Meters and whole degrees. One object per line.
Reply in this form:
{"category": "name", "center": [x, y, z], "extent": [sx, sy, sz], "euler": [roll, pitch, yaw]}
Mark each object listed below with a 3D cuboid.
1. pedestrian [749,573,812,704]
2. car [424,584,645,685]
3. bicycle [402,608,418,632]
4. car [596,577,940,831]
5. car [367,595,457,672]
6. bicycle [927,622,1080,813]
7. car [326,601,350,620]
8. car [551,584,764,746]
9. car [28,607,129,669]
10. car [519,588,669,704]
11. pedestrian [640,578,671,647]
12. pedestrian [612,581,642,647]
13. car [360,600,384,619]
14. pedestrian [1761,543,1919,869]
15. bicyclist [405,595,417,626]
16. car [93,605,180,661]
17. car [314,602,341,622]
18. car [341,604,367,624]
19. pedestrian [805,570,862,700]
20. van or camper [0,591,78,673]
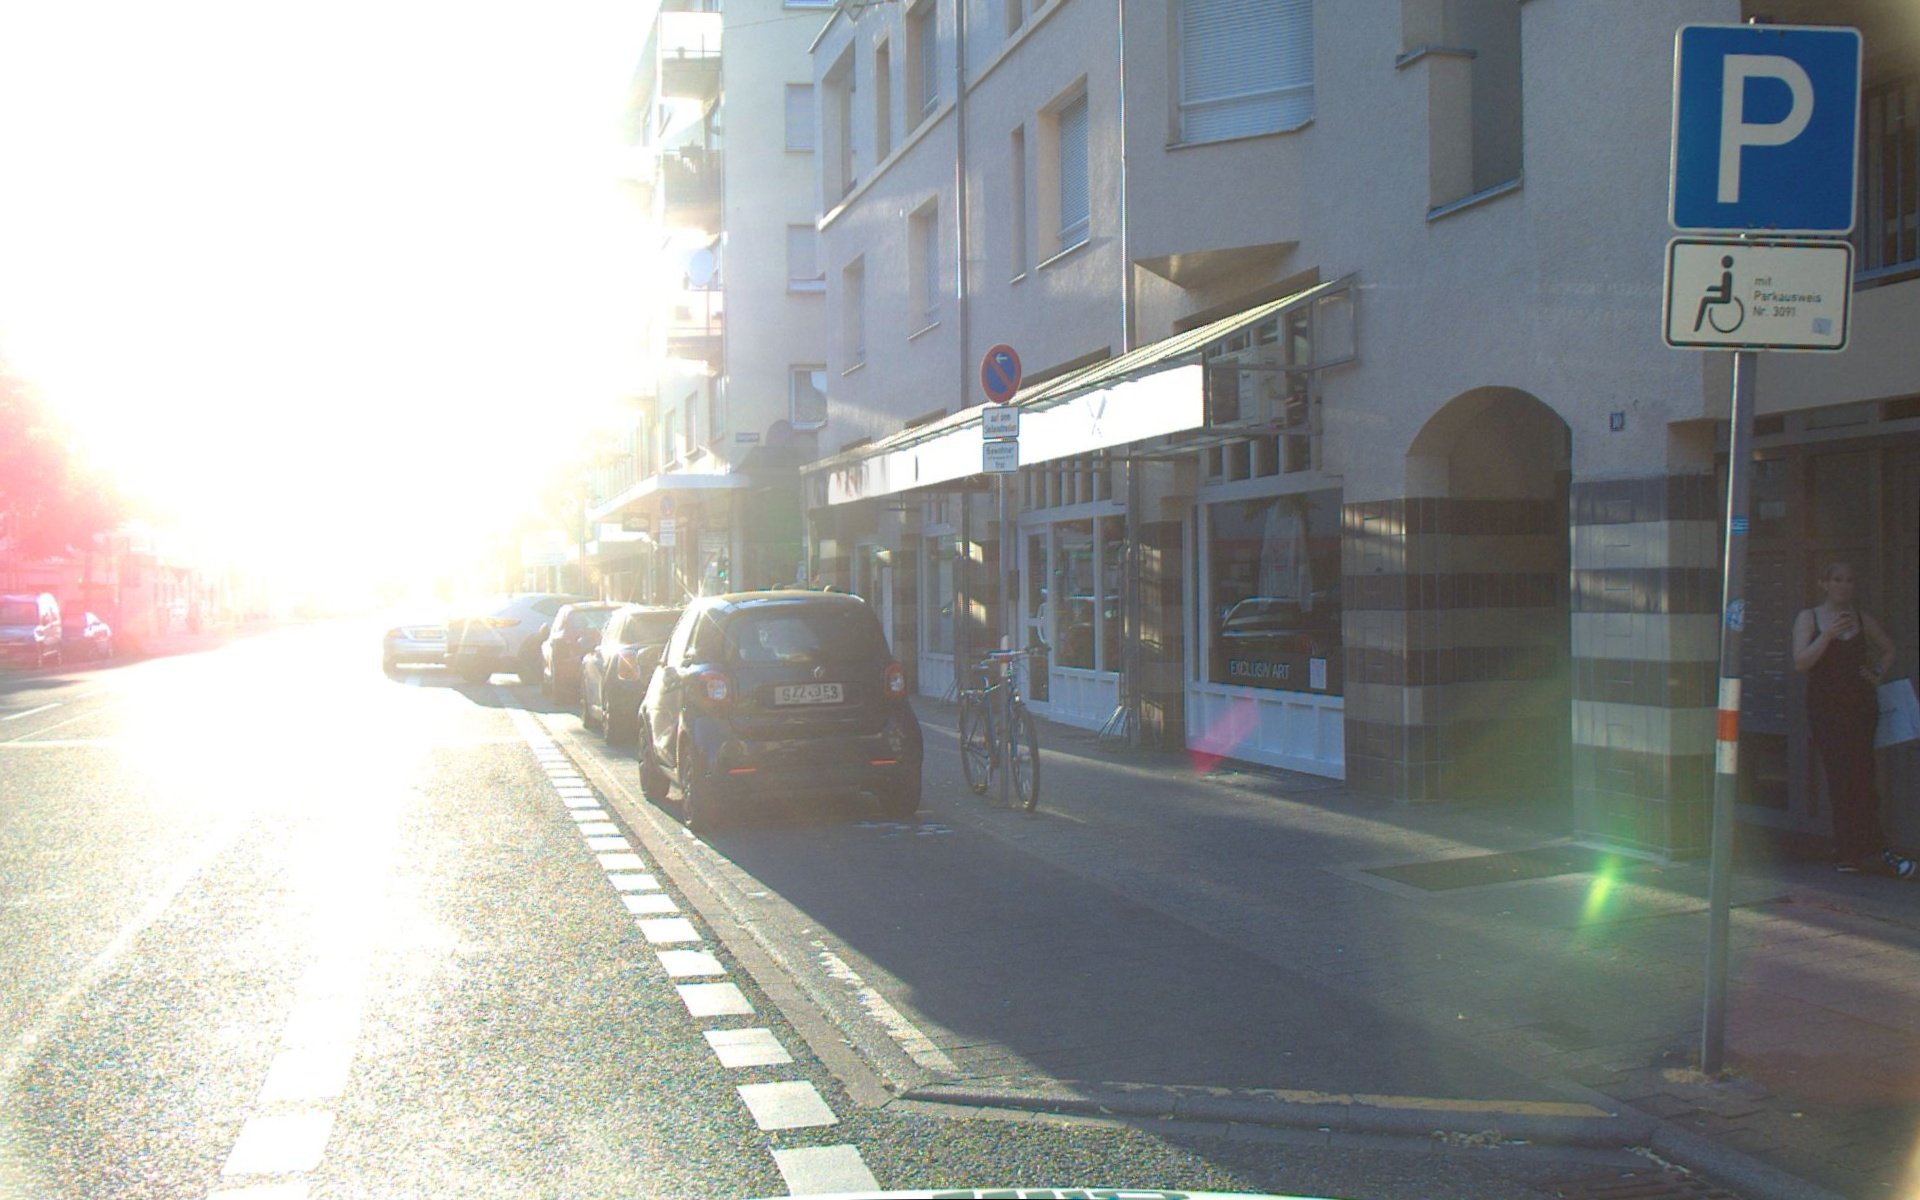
{"category": "pedestrian", "center": [-2.458, 0.509, 22.608], "extent": [0.620, 1.729, 1.034], "euler": [-1, 0, -19]}
{"category": "car", "center": [-7.880, 0.606, 31.077], "extent": [1.834, 1.727, 4.321], "euler": [1, 0, 21]}
{"category": "bicycle", "center": [-29.378, 1.060, 88.418], "extent": [0.652, 1.264, 2.121], "euler": [1, 0, -15]}
{"category": "car", "center": [-1.637, 0.652, 12.750], "extent": [1.763, 1.608, 3.943], "euler": [-1, 0, -20]}
{"category": "car", "center": [-11.676, 0.685, 35.417], "extent": [1.663, 1.529, 3.770], "euler": [1, 0, -17]}
{"category": "bicycle", "center": [0.276, 0.798, 12.068], "extent": [0.549, 1.227, 1.969], "euler": [-1, 0, -16]}
{"category": "car", "center": [-53.018, 0.900, 141.073], "extent": [1.663, 1.529, 3.770], "euler": [-1, 0, -17]}
{"category": "car", "center": [-3.518, 0.640, 18.741], "extent": [1.763, 1.608, 3.764], "euler": [-1, 0, -20]}
{"category": "car", "center": [-23.681, 0.992, 44.547], "extent": [1.663, 1.529, 3.770], "euler": [-1, 0, -17]}
{"category": "car", "center": [-5.670, 0.639, 25.328], "extent": [1.763, 1.608, 3.764], "euler": [-1, 0, -20]}
{"category": "pedestrian", "center": [-8.203, 0.320, 44.523], "extent": [0.707, 1.822, 0.663], "euler": [-2, 0, -18]}
{"category": "pedestrian", "center": [-9.320, 0.377, 46.314], "extent": [0.707, 1.822, 0.663], "euler": [-2, 0, -18]}
{"category": "car", "center": [-50.264, 0.808, 141.395], "extent": [1.663, 1.529, 3.770], "euler": [-1, 0, -17]}
{"category": "pedestrian", "center": [4.561, 0.520, 8.393], "extent": [0.759, 1.600, 0.534], "euler": [-1, 0, 9]}
{"category": "bicyclist", "center": [-29.358, 0.554, 88.411], "extent": [0.538, 1.608, 0.799], "euler": [-1, 0, -15]}
{"category": "car", "center": [-24.540, 0.947, 49.372], "extent": [1.663, 1.529, 3.770], "euler": [-1, 0, -17]}
{"category": "car", "center": [-50.931, 0.925, 133.199], "extent": [1.663, 1.529, 3.770], "euler": [-1, 0, -17]}
{"category": "car", "center": [-49.002, 1.098, 133.782], "extent": [1.663, 1.529, 3.770], "euler": [-1, 0, -17]}
{"category": "pedestrian", "center": [-1.736, 0.470, 22.637], "extent": [0.551, 1.729, 0.827], "euler": [-1, 0, -19]}
{"category": "van or camper", "center": [-22.237, 0.712, 38.849], "extent": [1.759, 1.805, 4.537], "euler": [-1, 0, -17]}
